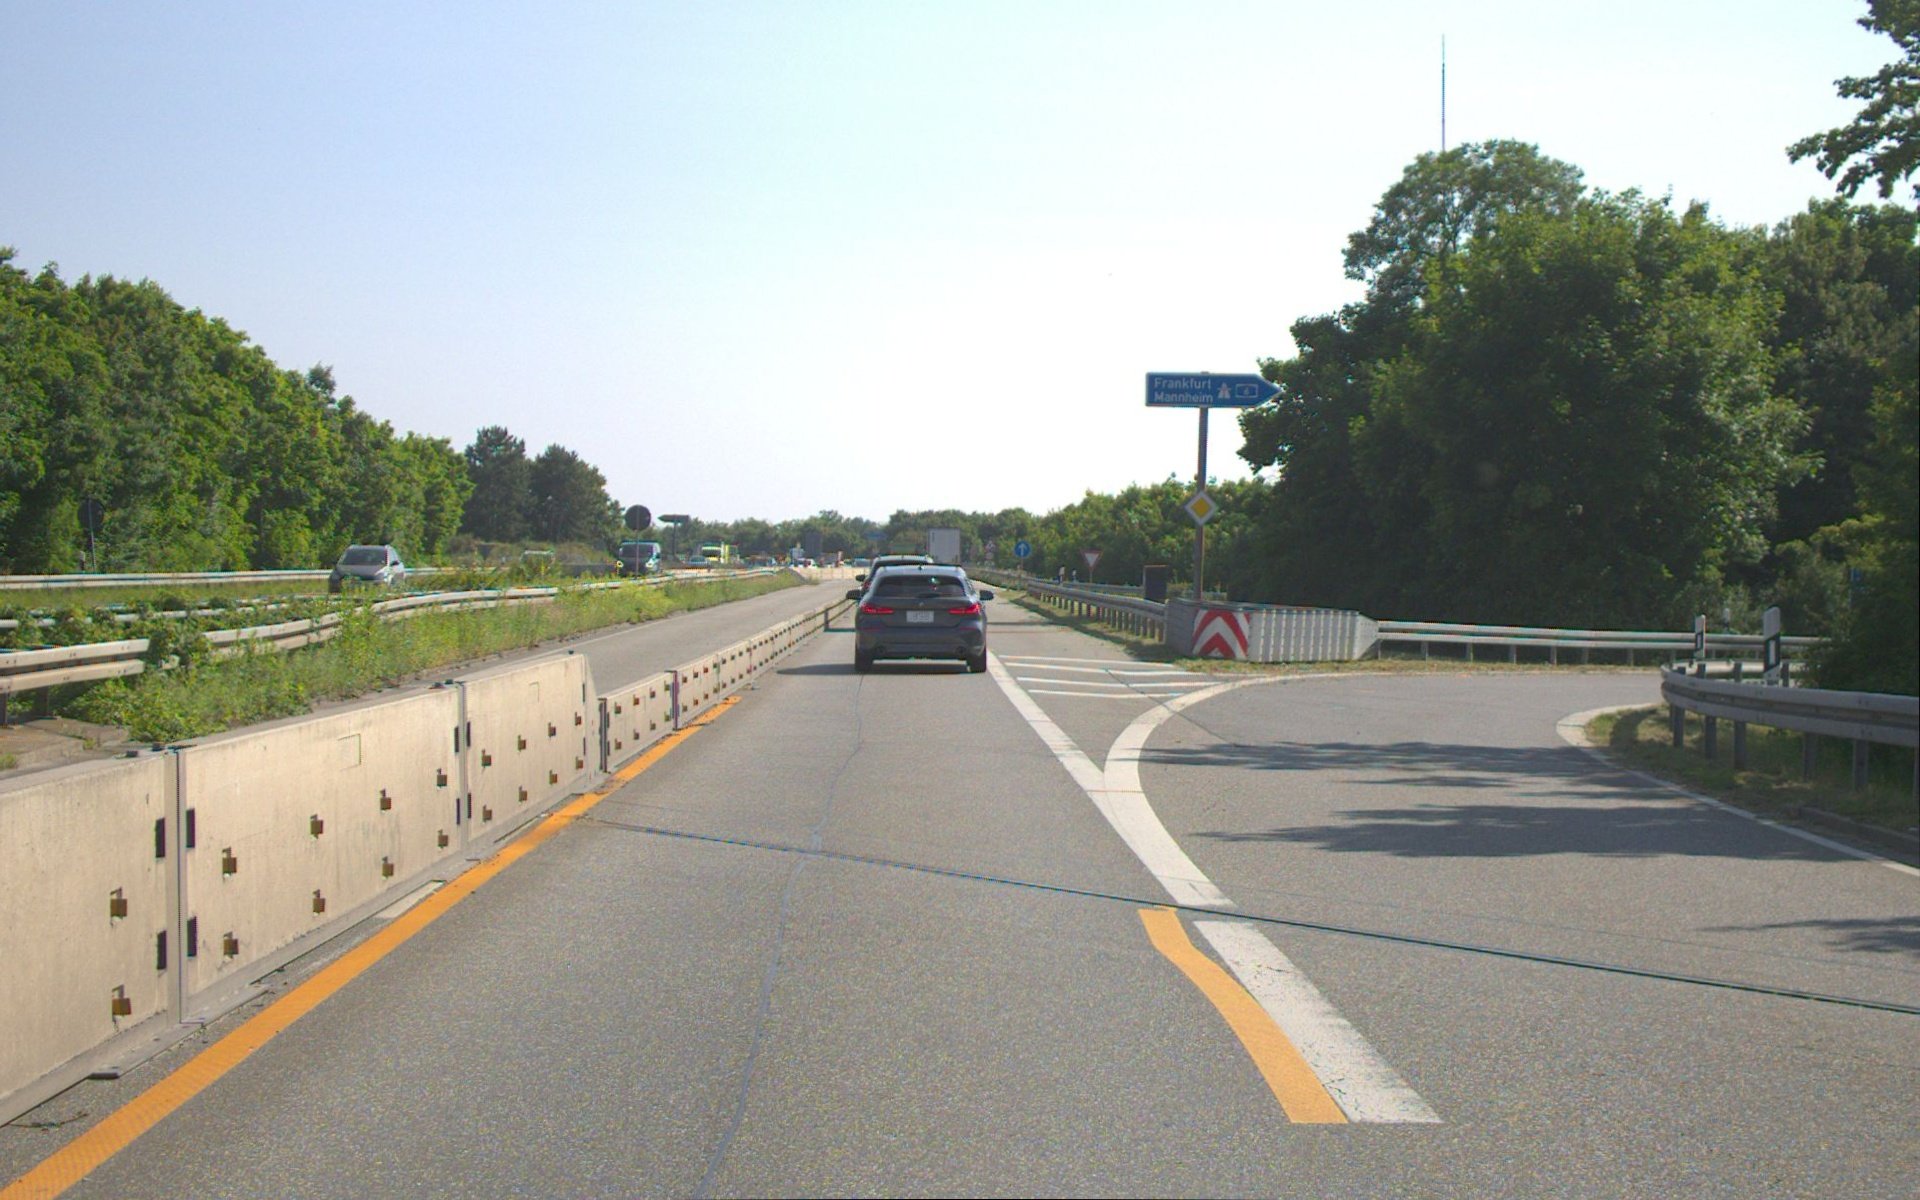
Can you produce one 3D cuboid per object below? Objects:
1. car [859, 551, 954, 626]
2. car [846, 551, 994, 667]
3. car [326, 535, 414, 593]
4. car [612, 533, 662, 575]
[{"bbox_3d":[-1.130,-0.274,74.297,1.993,1.561,4.000,0,1,0],"label":"car"},{"bbox_3d":[-0.592,0.087,47.506,1.920,1.488,4.000,1,1,-2],"label":"car"},{"bbox_3d":[-16.664,-1.036,97.235,1.763,1.577,4.423,0,1,0],"label":"car"},{"bbox_3d":[-15.664,-2.245,166.866,1.993,2.027,5.169,0,1,-1],"label":"car"}]
